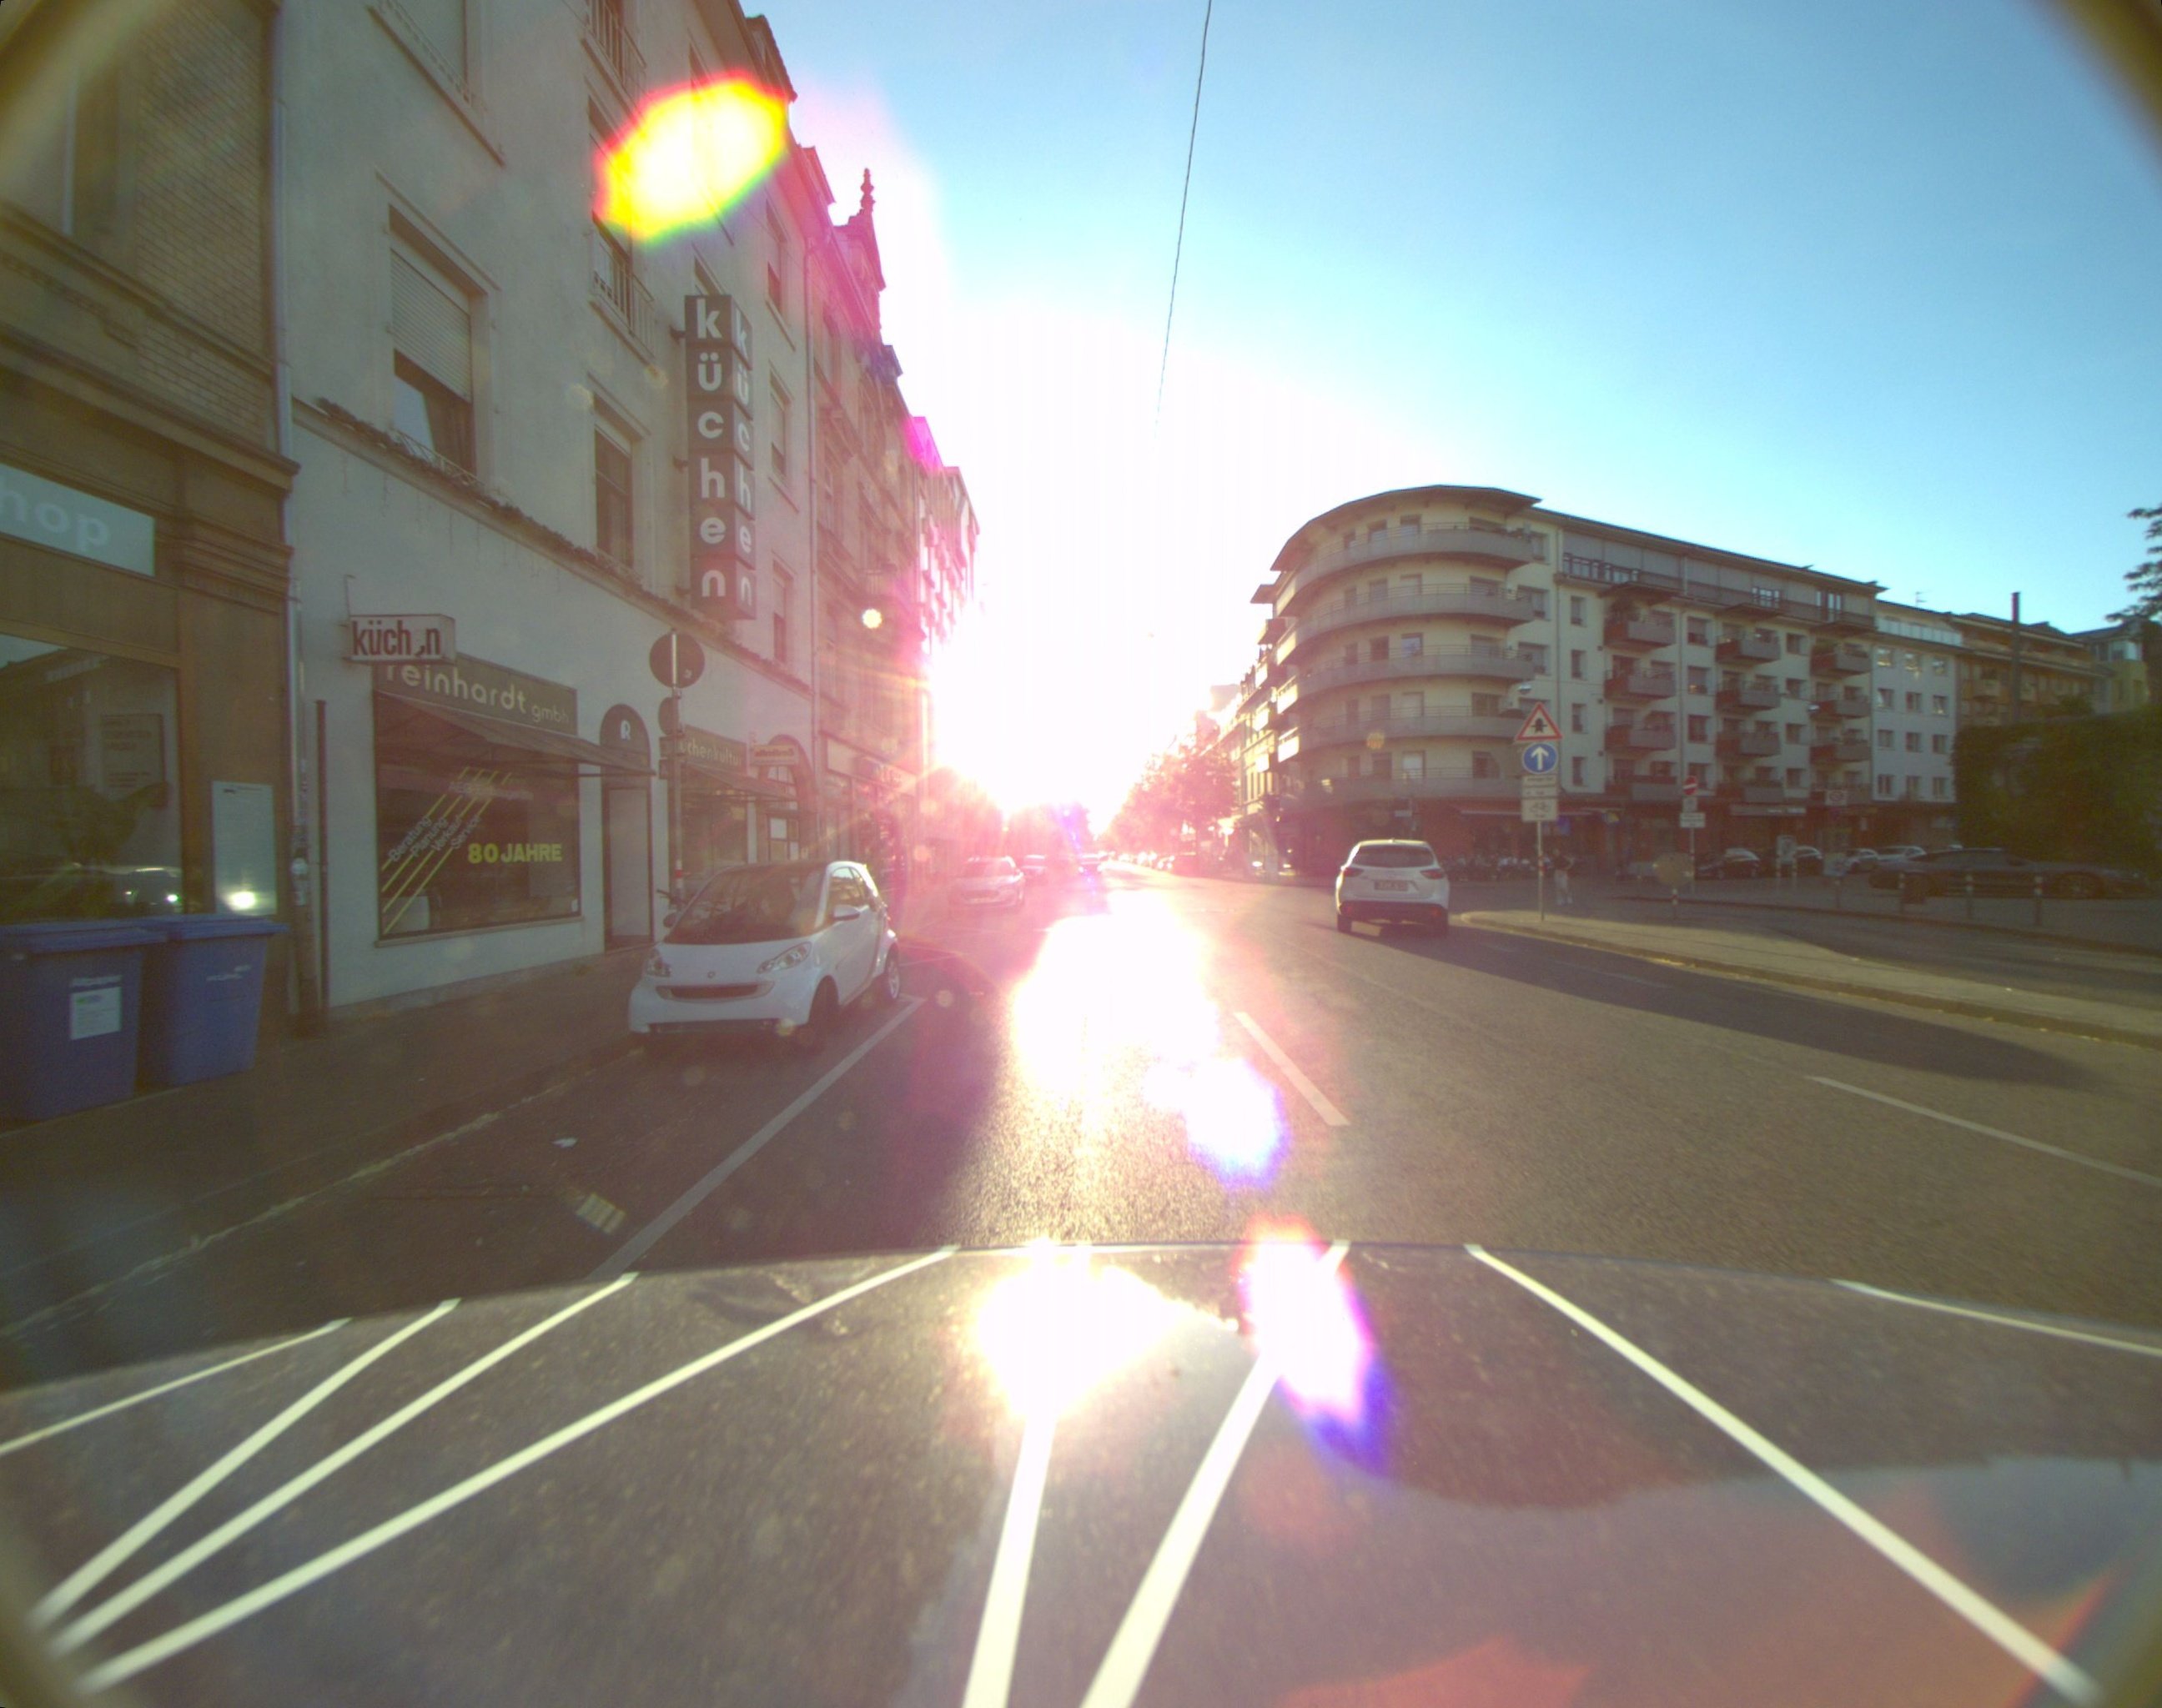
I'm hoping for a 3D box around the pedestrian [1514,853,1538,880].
[{"bbox_3d":[20.947,0.596,35.771,0.622,1.218,0.700,-1,2,-12],"label":"pedestrian"}]

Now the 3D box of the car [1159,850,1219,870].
[{"bbox_3d":[8.739,0.493,61.660,4.582,1.399,1.821,-2,0,-1],"label":"car"}]

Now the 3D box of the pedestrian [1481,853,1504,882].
[{"bbox_3d":[18.895,0.603,34.901,0.622,1.281,0.701,-1,2,-9],"label":"pedestrian"}]

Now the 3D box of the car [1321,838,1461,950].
[{"bbox_3d":[6.058,0.591,14.522,1.994,1.751,4.473,2,2,28],"label":"car"}]

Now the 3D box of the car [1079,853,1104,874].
[{"bbox_3d":[0.848,0.694,58.833,1.825,1.469,4.155,-1,1,2],"label":"car"}]

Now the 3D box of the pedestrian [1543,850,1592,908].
[{"bbox_3d":[13.467,0.675,21.055,0.901,1.557,0.766,-1,0,-24],"label":"pedestrian"}]

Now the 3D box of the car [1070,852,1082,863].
[{"bbox_3d":[-0.737,0.544,109.476,1.695,1.534,3.553,1,0,0],"label":"car"}]

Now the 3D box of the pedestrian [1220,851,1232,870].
[{"bbox_3d":[12.022,0.507,62.952,0.736,1.519,0.875,-2,2,1],"label":"pedestrian"}]

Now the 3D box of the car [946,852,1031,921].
[{"bbox_3d":[-2.429,0.789,21.029,1.763,1.528,4.820,-3,1,-1],"label":"car"}]

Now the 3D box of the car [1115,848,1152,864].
[{"bbox_3d":[6.130,0.239,89.237,4.160,1.762,1.889,-2,1,-1],"label":"car"}]

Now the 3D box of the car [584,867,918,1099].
[{"bbox_3d":[-2.740,0.971,7.141,1.535,1.528,3.283,-2,1,2],"label":"car"}]

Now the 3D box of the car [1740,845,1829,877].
[{"bbox_3d":[37.089,0.333,40.068,4.004,1.587,1.966,-1,1,-22],"label":"car"}]

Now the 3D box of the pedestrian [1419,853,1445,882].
[{"bbox_3d":[15.522,0.610,33.635,0.724,1.240,0.828,0,2,-5],"label":"pedestrian"}]

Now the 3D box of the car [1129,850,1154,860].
[{"bbox_3d":[9.749,0.128,123.099,3.876,1.448,1.744,-2,0,-1],"label":"car"}]

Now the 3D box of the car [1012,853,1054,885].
[{"bbox_3d":[-2.425,0.745,39.419,1.763,1.527,4.000,2,0,2],"label":"car"}]

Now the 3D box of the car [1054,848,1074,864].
[{"bbox_3d":[-1.905,0.254,86.837,2.043,1.727,4.711,1,0,2],"label":"car"}]

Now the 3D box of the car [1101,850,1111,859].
[{"bbox_3d":[5.088,0.119,152.819,1.866,1.682,4.461,-1,-1,0],"label":"car"}]

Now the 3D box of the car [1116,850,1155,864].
[{"bbox_3d":[6.182,0.378,86.331,4.160,1.413,1.766,-2,1,-1],"label":"car"}]

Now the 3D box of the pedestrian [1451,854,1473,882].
[{"bbox_3d":[17.319,0.610,34.548,0.622,1.240,0.701,-1,2,-9],"label":"pedestrian"}]

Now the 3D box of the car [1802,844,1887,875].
[{"bbox_3d":[42.348,0.293,42.153,4.004,1.587,1.966,-1,1,-22],"label":"car"}]

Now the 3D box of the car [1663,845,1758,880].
[{"bbox_3d":[31.241,0.392,37.728,4.004,1.587,1.966,-1,1,-22],"label":"car"}]

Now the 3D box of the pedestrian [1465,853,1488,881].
[{"bbox_3d":[18.032,0.606,34.671,0.622,1.240,0.701,-1,2,-9],"label":"pedestrian"}]

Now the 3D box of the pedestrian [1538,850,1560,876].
[{"bbox_3d":[23.287,0.436,37.794,0.622,1.281,0.700,-1,2,-20],"label":"pedestrian"}]

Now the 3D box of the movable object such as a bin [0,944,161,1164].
[{"bbox_3d":[-5.950,1.085,4.283,0.776,1.064,0.618,1,1,0],"label":"movable object such as a bin"}]

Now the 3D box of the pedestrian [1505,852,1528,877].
[{"bbox_3d":[21.275,0.514,37.137,0.622,1.218,0.700,-1,2,-12],"label":"pedestrian"}]

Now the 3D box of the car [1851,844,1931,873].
[{"bbox_3d":[48.138,0.260,45.148,4.004,1.587,1.966,-1,1,-22],"label":"car"}]

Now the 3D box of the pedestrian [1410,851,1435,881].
[{"bbox_3d":[15.602,0.537,34.734,0.748,1.340,0.828,0,2,-5],"label":"pedestrian"}]

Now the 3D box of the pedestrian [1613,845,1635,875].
[{"bbox_3d":[26.877,0.299,37.602,0.702,1.461,0.620,-1,3,-25],"label":"pedestrian"}]

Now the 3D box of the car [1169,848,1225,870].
[{"bbox_3d":[8.990,0.403,59.269,4.082,1.527,1.884,-2,0,1],"label":"car"}]

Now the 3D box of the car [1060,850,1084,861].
[{"bbox_3d":[-1.439,0.249,119.263,1.661,1.574,3.632,0,-1,42],"label":"car"}]

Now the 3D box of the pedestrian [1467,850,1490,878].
[{"bbox_3d":[18.789,0.486,35.939,0.657,1.281,0.701,-1,2,-9],"label":"pedestrian"}]

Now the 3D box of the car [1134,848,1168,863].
[{"bbox_3d":[7.712,0.115,83.834,3.565,1.493,1.716,-2,1,0],"label":"car"}]

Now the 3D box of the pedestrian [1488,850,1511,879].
[{"bbox_3d":[19.922,0.488,36.187,0.622,1.326,0.701,-1,2,-9],"label":"pedestrian"}]

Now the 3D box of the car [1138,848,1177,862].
[{"bbox_3d":[9.229,0.120,91.608,4.417,1.586,1.890,-2,0,0],"label":"car"}]

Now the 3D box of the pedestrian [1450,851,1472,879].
[{"bbox_3d":[17.852,0.514,35.660,0.622,1.240,0.701,-1,2,-9],"label":"pedestrian"}]

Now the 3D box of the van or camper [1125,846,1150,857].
[{"bbox_3d":[10.163,-0.495,137.632,4.469,1.945,1.789,-1,0,2],"label":"van or camper"}]

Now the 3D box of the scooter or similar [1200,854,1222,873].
[{"bbox_3d":[8.830,0.620,51.642,1.402,1.219,0.525,-2,1,-2],"label":"scooter or similar"}]

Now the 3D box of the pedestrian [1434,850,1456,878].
[{"bbox_3d":[17.046,0.465,35.565,0.622,1.240,0.701,-1,2,-9],"label":"pedestrian"}]

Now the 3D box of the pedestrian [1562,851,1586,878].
[{"bbox_3d":[23.967,0.491,36.938,0.622,1.281,0.700,-1,2,-20],"label":"pedestrian"}]

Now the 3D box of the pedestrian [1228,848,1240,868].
[{"bbox_3d":[12.666,0.363,62.922,0.774,1.599,0.875,-2,2,1],"label":"pedestrian"}]

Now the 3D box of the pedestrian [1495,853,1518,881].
[{"bbox_3d":[19.672,0.585,35.130,0.622,1.281,0.701,-1,2,-9],"label":"pedestrian"}]

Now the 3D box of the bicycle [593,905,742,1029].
[{"bbox_3d":[-4.309,1.128,8.103,0.505,1.010,1.947,-1,1,0],"label":"bicycle"}]

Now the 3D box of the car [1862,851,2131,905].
[{"bbox_3d":[25.228,0.597,21.153,2.003,1.310,4.518,0,0,-30],"label":"car"}]

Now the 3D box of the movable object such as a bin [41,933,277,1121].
[{"bbox_3d":[-5.940,1.088,4.936,0.776,1.064,0.618,1,1,0],"label":"movable object such as a bin"}]
